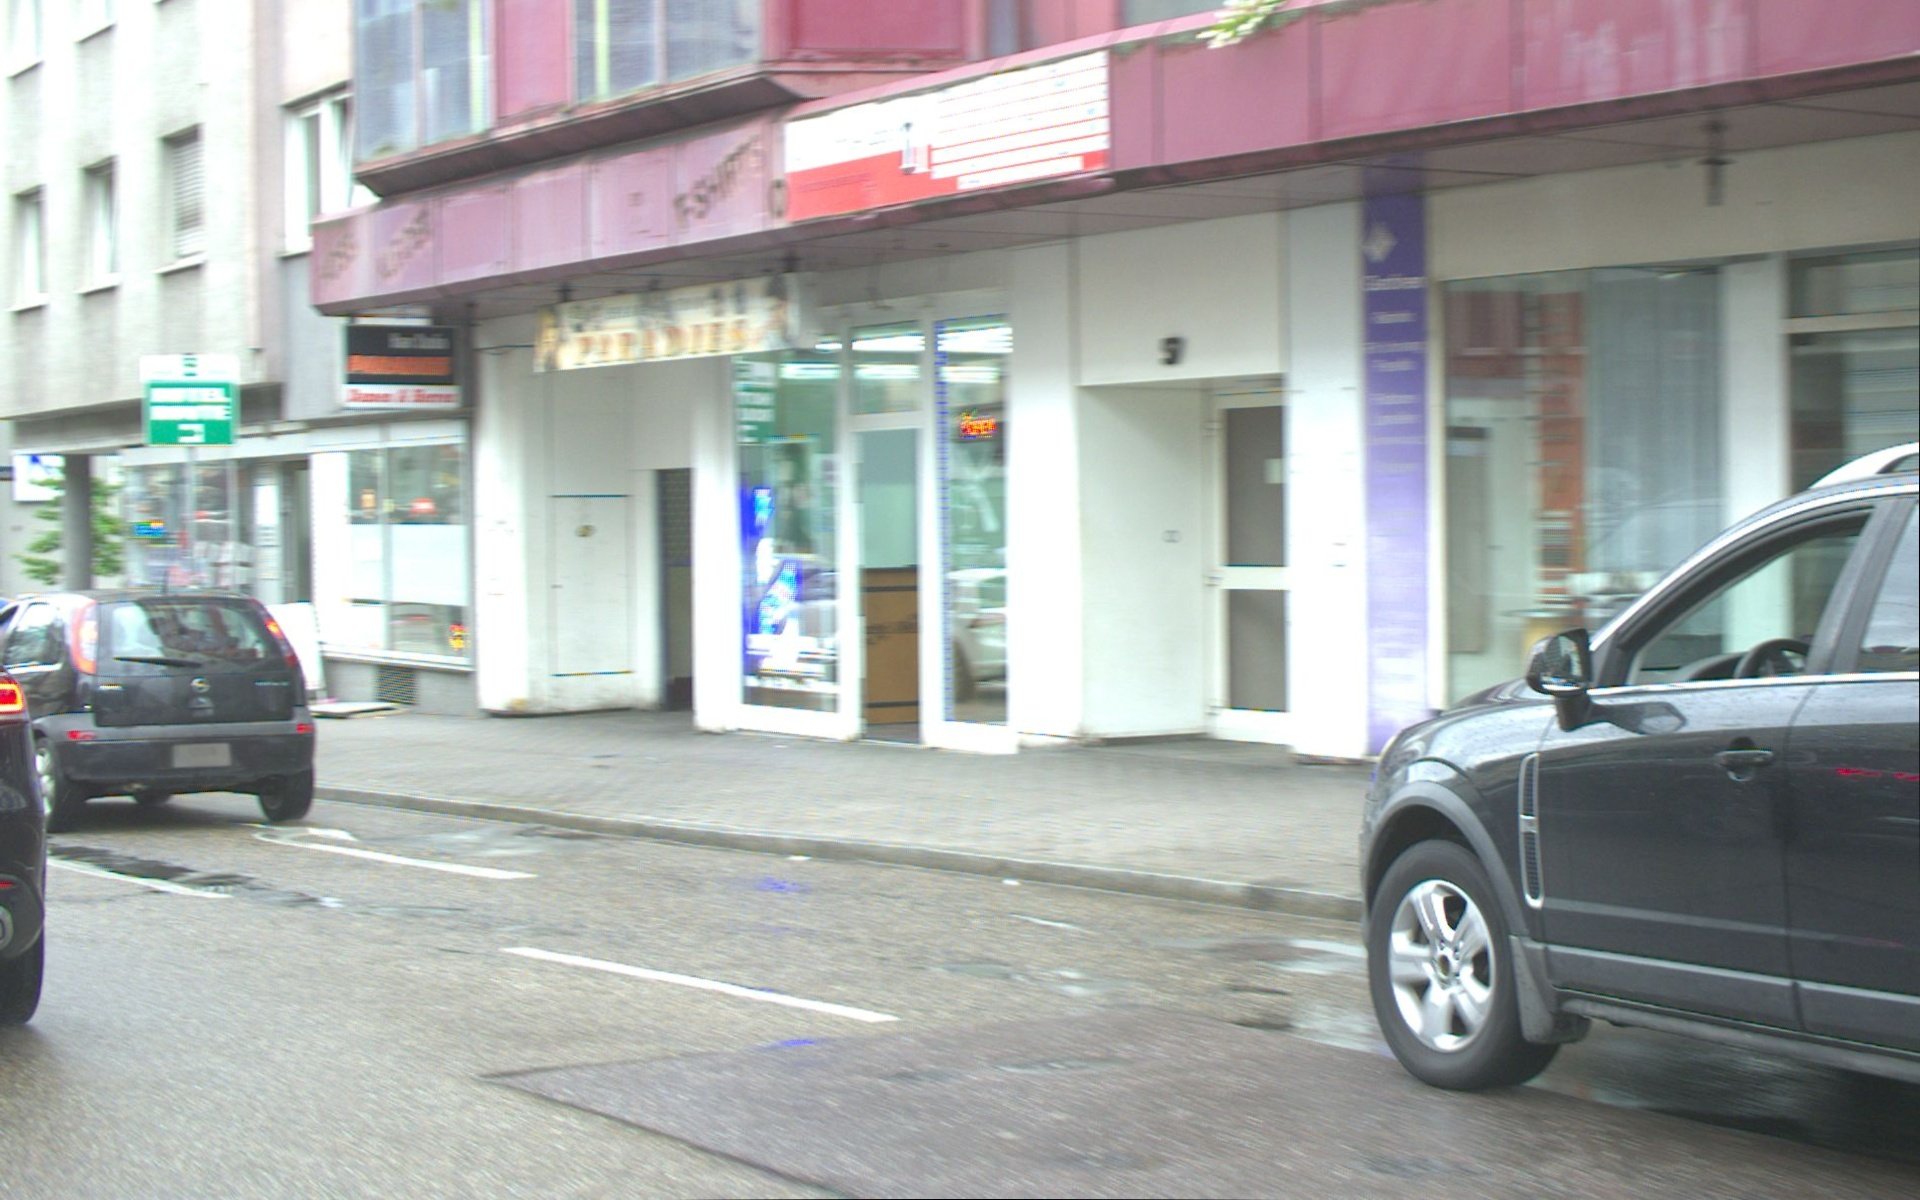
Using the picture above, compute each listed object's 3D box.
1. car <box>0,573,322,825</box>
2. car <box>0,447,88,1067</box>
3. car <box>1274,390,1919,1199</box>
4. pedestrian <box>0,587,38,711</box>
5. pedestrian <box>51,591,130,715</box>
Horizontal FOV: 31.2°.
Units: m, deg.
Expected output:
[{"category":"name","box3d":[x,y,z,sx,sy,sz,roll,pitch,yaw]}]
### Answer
[{"category":"car","box3d":[-5.387,0.590,21.396,1.716,1.415,3.770,0,-1,-28]},{"category":"car","box3d":[-4.547,0.435,11.851,2.087,1.811,4.793,-1,1,-25]},{"category":"car","box3d":[2.641,0.433,8.307,1.906,1.779,4.303,0,1,-23]},{"category":"pedestrian","box3d":[-12.962,0.676,46.393,0.743,1.629,0.596,-4,-2,11]},{"category":"pedestrian","box3d":[-12.457,0.750,49.270,1.035,1.717,0.838,-2,0,-14]}]
